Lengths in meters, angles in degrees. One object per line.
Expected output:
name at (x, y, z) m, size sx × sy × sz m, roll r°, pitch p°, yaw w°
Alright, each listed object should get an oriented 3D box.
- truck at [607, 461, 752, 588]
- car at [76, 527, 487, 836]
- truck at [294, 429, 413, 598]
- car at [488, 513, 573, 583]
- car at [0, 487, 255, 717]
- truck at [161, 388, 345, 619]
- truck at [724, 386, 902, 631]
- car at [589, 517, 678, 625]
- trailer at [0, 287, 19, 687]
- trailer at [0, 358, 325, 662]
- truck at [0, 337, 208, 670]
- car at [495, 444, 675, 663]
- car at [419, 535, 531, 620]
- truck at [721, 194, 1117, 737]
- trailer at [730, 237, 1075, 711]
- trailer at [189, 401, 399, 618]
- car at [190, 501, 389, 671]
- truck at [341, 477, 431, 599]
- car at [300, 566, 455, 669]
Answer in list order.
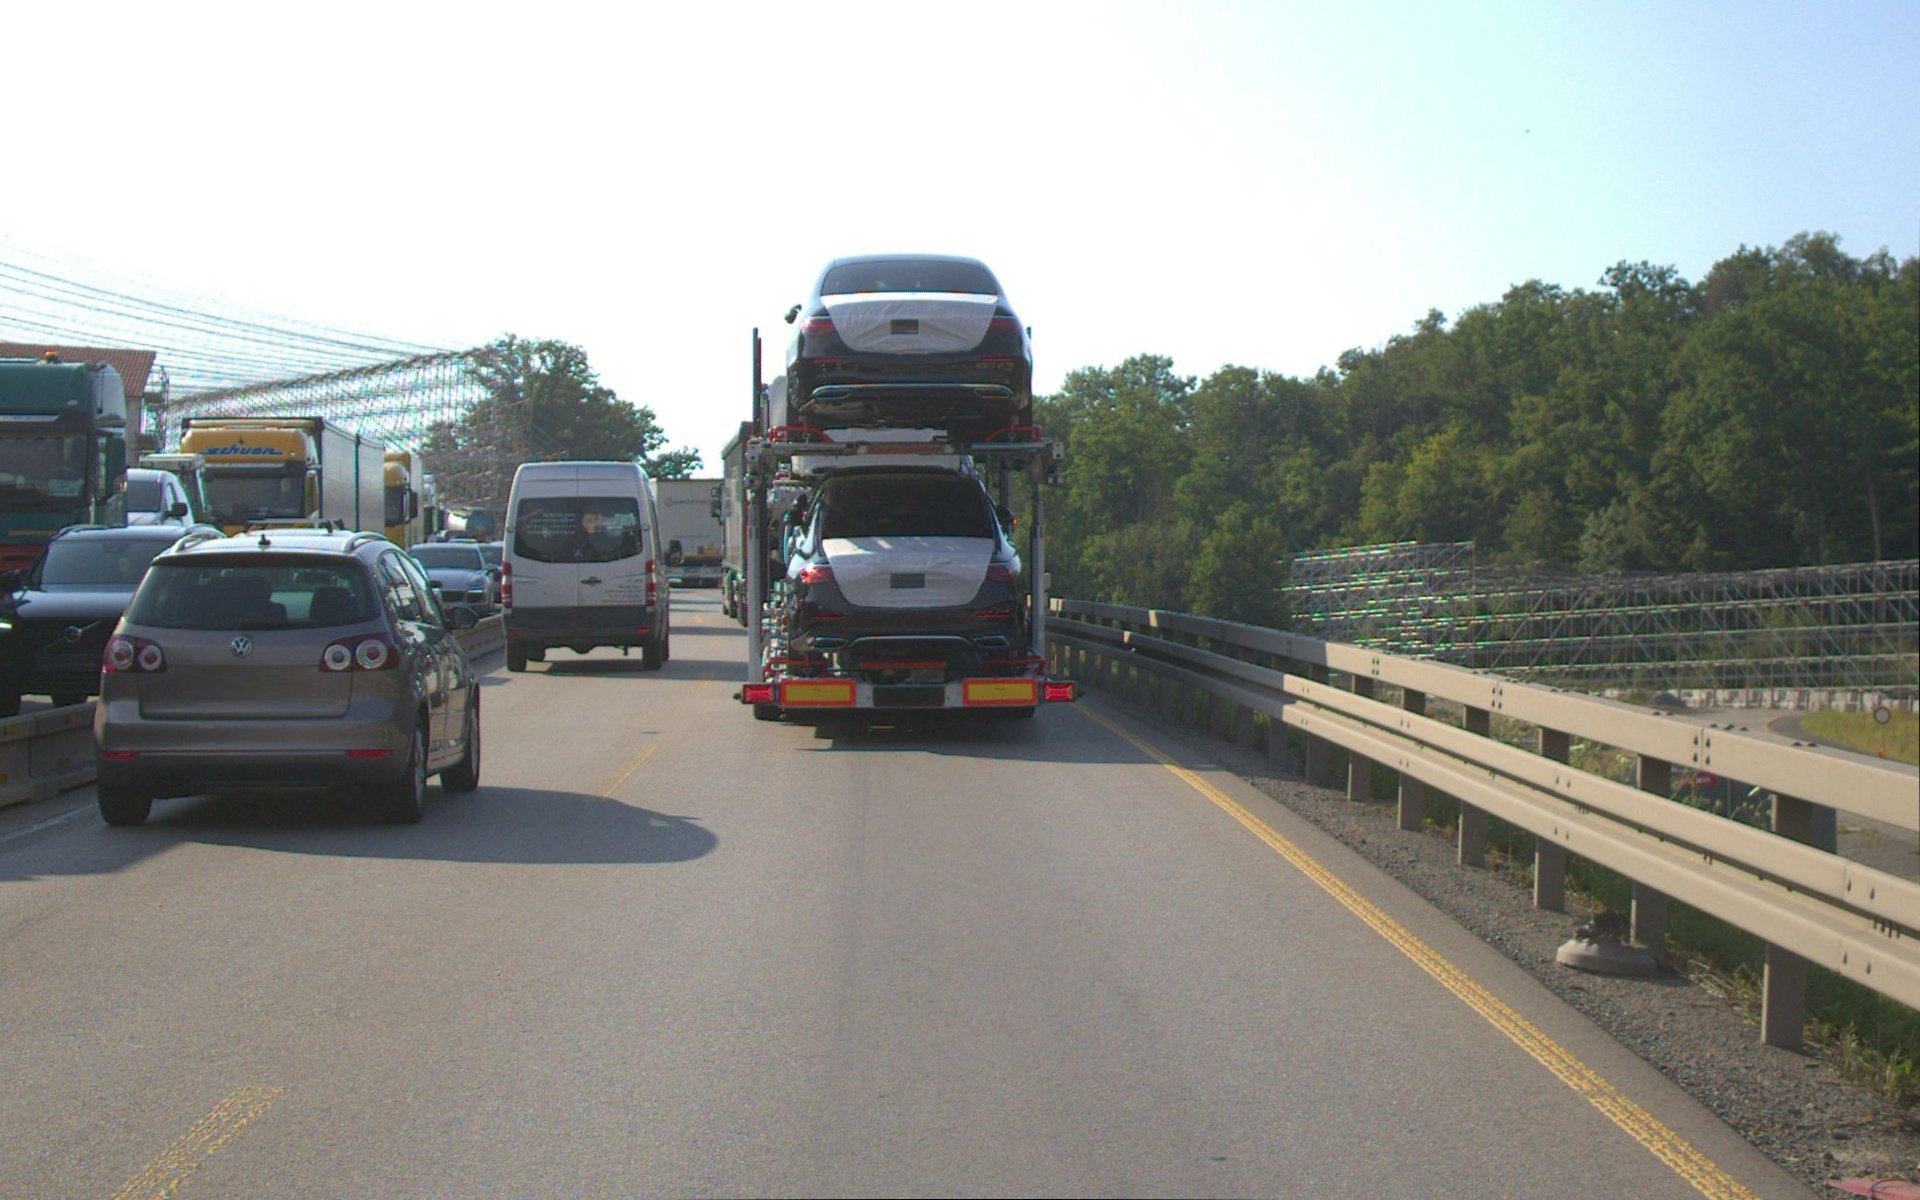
truck at (-10.832, -2.910, 131.447) m, size 3.647 × 4.661 × 11.699 m, roll 0°, pitch 2°, yaw -14°
car at (-3.804, 0.420, 19.913) m, size 1.700 × 1.581 × 4.147 m, roll -1°, pitch 0°, yaw -2°
truck at (-15.477, -2.160, 87.982) m, size 2.693 × 4.182 × 4.399 m, roll -1°, pitch 0°, yaw -7°
car at (-10.861, -1.290, 87.167) m, size 1.926 × 1.696 × 4.692 m, roll -1°, pitch 0°, yaw -5°
car at (-7.820, 0.030, 31.719) m, size 1.833 × 1.957 × 4.900 m, roll 0°, pitch 0°, yaw -3°
truck at (-13.208, -1.732, 64.590) m, size 2.700 × 4.126 × 5.795 m, roll -1°, pitch 0°, yaw -5°
truck at (-3.207, -1.900, 71.458) m, size 3.227 × 4.661 × 11.698 m, roll 0°, pitch 1°, yaw -5°
car at (-6.363, -0.551, 67.275) m, size 1.528 × 2.007 × 4.000 m, roll 2°, pitch 0°, yaw -4°
trailer at (-10.891, -1.077, 29.506) m, size 2.714 × 4.108 × 12.494 m, roll -1°, pitch 1°, yaw -3°
trailer at (-11.952, -1.214, 51.664) m, size 2.748 × 3.802 × 16.049 m, roll -1°, pitch 1°, yaw -4°
truck at (-11.398, -1.128, 42.967) m, size 2.748 × 3.792 × 7.112 m, roll -1°, pitch 1°, yaw -4°
car at (-4.809, -0.577, 44.540) m, size 1.979 × 2.675 × 4.147 m, roll -1°, pitch 0°, yaw -2°
car at (-9.775, -0.449, 69.595) m, size 1.959 × 1.639 × 4.849 m, roll -1°, pitch 0°, yaw -5°
truck at (-0.443, -0.996, 28.177) m, size 2.869 × 3.966 × 5.772 m, roll -1°, pitch 0°, yaw -3°
trailer at (-0.867, -1.074, 36.658) m, size 2.874 × 3.980 × 15.281 m, roll -1°, pitch 0°, yaw -3°
trailer at (-14.062, -1.732, 73.943) m, size 2.714 × 4.120 × 16.755 m, roll -1°, pitch 0°, yaw -5°
car at (-8.384, -0.165, 43.367) m, size 1.823 × 1.927 × 5.131 m, roll -3°, pitch 0°, yaw -5°
truck at (-19.943, -2.040, 119.999) m, size 2.808 × 3.956 × 13.896 m, roll 1°, pitch 0°, yaw -8°
car at (-9.249, 0.251, 54.936) m, size 1.803 × 1.516 × 4.817 m, roll -2°, pitch 0°, yaw -2°
